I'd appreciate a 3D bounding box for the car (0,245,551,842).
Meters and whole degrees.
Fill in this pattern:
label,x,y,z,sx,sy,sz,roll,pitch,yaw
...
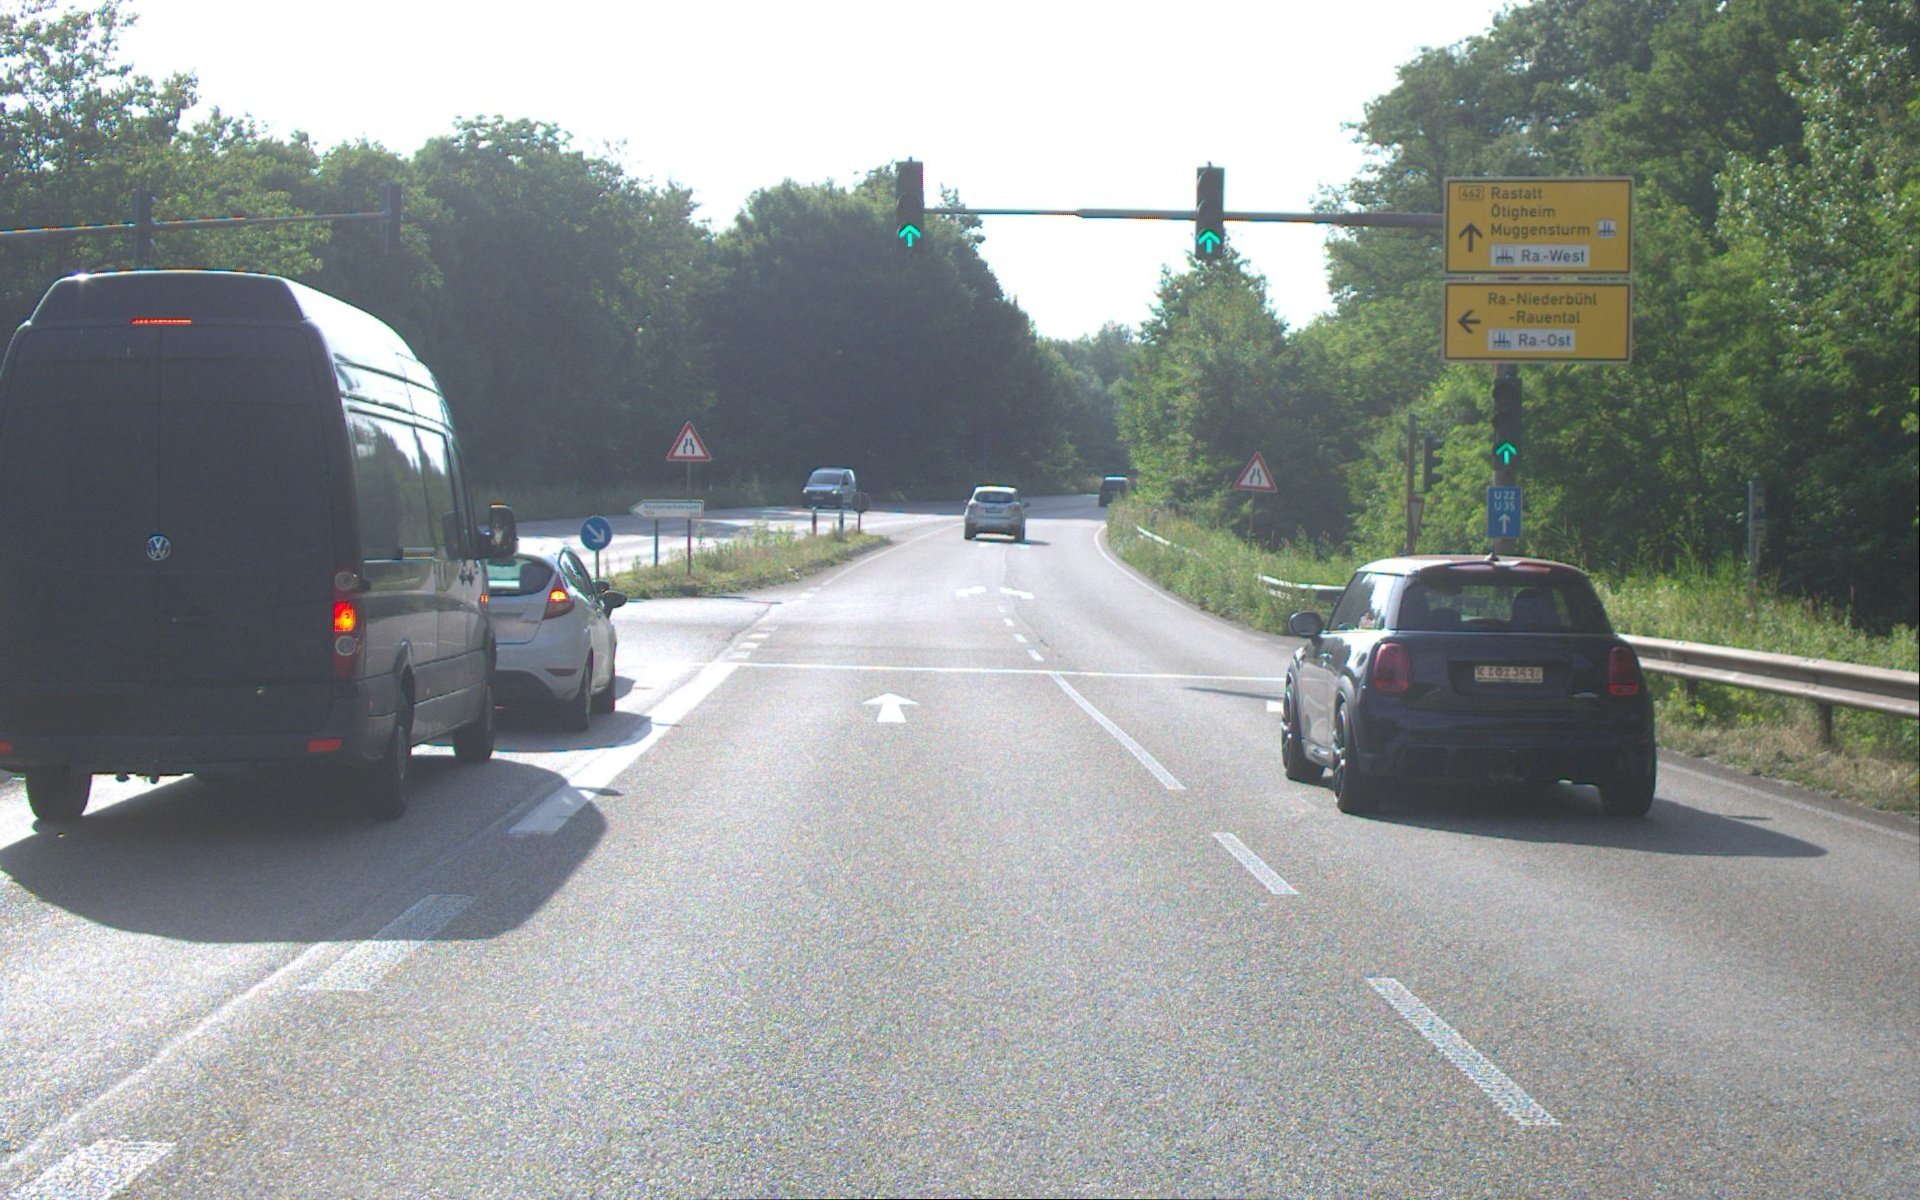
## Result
label,x,y,z,sx,sy,sz,roll,pitch,yaw
car,-4.057,-0.352,20.127,2.210,2.878,7.011,0,1,2

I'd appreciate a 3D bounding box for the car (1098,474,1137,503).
label,x,y,z,sx,sy,sz,roll,pitch,yaw
car,8.551,-6.061,187.161,1.744,1.532,3.926,2,1,-2

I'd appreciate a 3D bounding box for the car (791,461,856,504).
label,x,y,z,sx,sy,sz,roll,pitch,yaw
car,-6.152,-5.296,155.654,1.851,1.780,4.668,2,1,11

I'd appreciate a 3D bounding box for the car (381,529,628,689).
label,x,y,z,sx,sy,sz,roll,pitch,yaw
car,-4.343,0.032,33.439,1.735,1.416,4.802,0,1,0

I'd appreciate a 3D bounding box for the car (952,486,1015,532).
label,x,y,z,sx,sy,sz,roll,pitch,yaw
car,0.756,-2.888,109.216,1.761,1.375,3.971,2,1,3

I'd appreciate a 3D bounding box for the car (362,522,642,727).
label,x,y,z,sx,sy,sz,roll,pitch,yaw
car,-3.537,0.132,27.167,1.645,1.484,4.104,0,1,0

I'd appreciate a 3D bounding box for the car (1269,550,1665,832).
label,x,y,z,sx,sy,sz,roll,pitch,yaw
car,2.887,0.460,20.344,1.820,1.462,3.873,1,1,1
